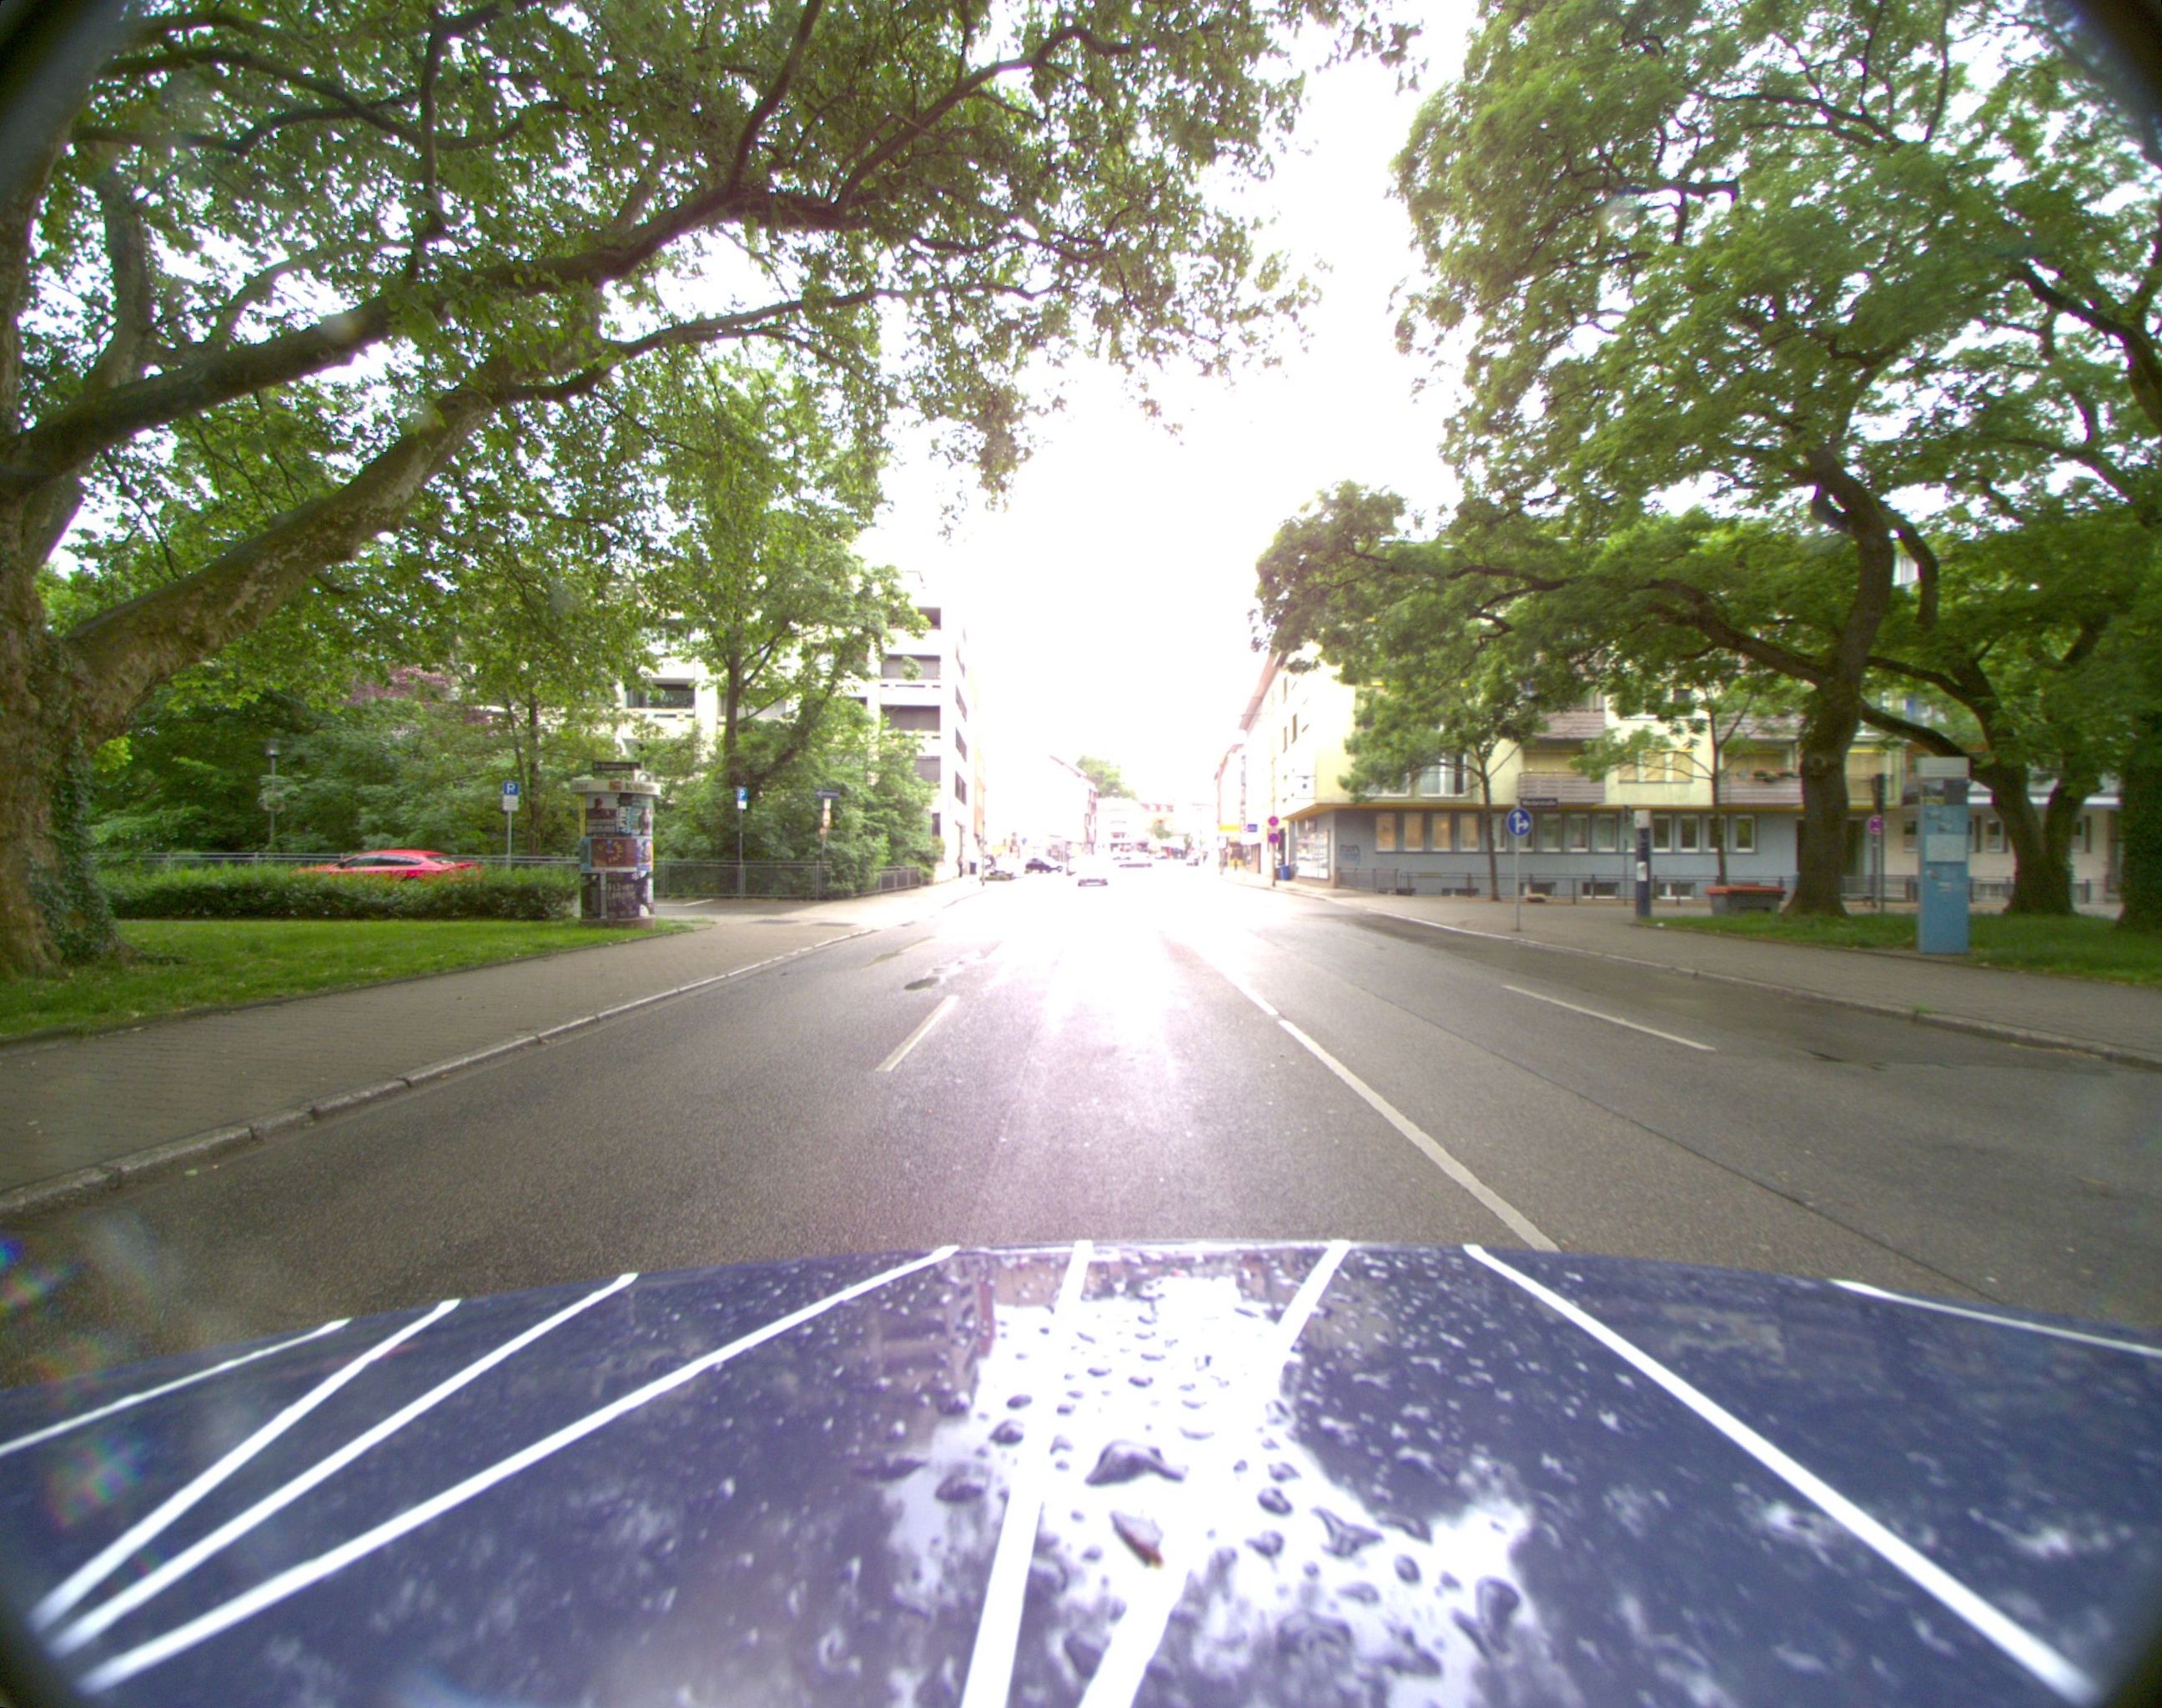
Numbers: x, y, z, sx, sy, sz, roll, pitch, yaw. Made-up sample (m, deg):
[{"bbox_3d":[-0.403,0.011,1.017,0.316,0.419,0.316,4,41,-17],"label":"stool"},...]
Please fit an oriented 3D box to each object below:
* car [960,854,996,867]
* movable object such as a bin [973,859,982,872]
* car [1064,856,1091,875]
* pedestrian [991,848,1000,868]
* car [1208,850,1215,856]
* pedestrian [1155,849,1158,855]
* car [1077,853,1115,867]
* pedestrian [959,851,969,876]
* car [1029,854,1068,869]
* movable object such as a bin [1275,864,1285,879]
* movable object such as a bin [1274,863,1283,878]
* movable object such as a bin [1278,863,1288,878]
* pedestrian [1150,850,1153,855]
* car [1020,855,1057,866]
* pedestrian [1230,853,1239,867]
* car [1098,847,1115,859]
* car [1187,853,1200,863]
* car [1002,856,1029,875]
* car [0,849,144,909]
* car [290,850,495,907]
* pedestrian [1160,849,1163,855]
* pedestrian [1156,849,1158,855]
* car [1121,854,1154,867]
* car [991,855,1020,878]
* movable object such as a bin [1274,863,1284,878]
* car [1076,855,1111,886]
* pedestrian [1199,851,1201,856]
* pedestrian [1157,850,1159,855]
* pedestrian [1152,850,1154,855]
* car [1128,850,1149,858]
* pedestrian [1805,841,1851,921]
[{"bbox_3d":[-12.707,0.811,93.820,4.157,1.576,1.801,1,0,-1],"label":"car"},{"bbox_3d":[-8.597,0.926,62.876,0.681,1.097,0.514,0,1,-1],"label":"movable object such as a bin"},{"bbox_3d":[-0.352,0.955,66.094,1.758,1.559,3.997,-2,0,-9],"label":"car"},{"bbox_3d":[-9.382,0.471,83.133,0.806,2.140,0.737,0,1,-23],"label":"pedestrian"},{"bbox_3d":[33.244,-0.312,193.486,1.591,1.518,3.491,0,0,14],"label":"car"},{"bbox_3d":[18.455,-0.481,185.598,0.379,1.283,0.401,1,1,39],"label":"pedestrian"},{"bbox_3d":[1.861,0.705,93.530,4.687,1.559,1.758,-2,0,2],"label":"car"},{"bbox_3d":[-8.036,0.652,52.266,0.599,1.650,0.691,3,0,-7],"label":"pedestrian"},{"bbox_3d":[-3.538,0.816,81.953,4.147,1.576,1.805,1,0,41],"label":"car"},{"bbox_3d":[12.757,1.106,48.635,0.529,0.890,0.435,-4,0,8],"label":"movable object such as a bin"},{"bbox_3d":[12.958,1.085,49.825,0.465,0.922,0.428,-4,0,8],"label":"movable object such as a bin"},{"bbox_3d":[12.788,1.051,48.128,0.529,0.955,0.435,-4,0,8],"label":"movable object such as a bin"},{"bbox_3d":[16.772,-0.363,180.457,0.379,1.283,0.401,0,1,39],"label":"pedestrian"},{"bbox_3d":[-5.209,0.836,93.693,4.463,1.377,1.476,0,0,1],"label":"car"},{"bbox_3d":[16.766,0.645,82.884,0.785,1.578,0.674,-2,0,21],"label":"pedestrian"},{"bbox_3d":[3.866,-0.107,116.020,2.016,1.754,4.766,1,0,8],"label":"car"},{"bbox_3d":[17.968,0.585,121.373,1.834,1.612,4.003,0,0,10],"label":"car"},{"bbox_3d":[-5.161,0.869,60.470,1.835,1.412,4.569,1,0,-1],"label":"car"},{"bbox_3d":[-29.533,0.675,21.398,3.932,1.561,1.735,1,0,-4],"label":"car"},{"bbox_3d":[-19.555,0.680,21.747,3.999,1.473,1.875,1,1,-5],"label":"car"},{"bbox_3d":[18.910,-0.439,178.715,0.379,1.283,0.401,1,1,39],"label":"pedestrian"},{"bbox_3d":[18.308,-0.452,183.178,0.379,1.283,0.401,0,1,38],"label":"pedestrian"},{"bbox_3d":[7.196,0.827,96.965,4.196,1.596,1.481,1,0,1],"label":"car"},{"bbox_3d":[-5.323,0.873,53.968,1.706,1.549,3.804,1,0,-1],"label":"car"},{"bbox_3d":[12.840,1.078,49.181,0.529,0.922,0.426,-4,0,8],"label":"movable object such as a bin"},{"bbox_3d":[0.678,0.848,41.211,1.756,1.559,4.000,-2,0,1],"label":"car"},{"bbox_3d":[27.207,-0.147,173.464,0.400,1.283,0.380,0,1,1],"label":"pedestrian"},{"bbox_3d":[17.851,-0.375,176.582,0.399,1.283,0.380,0,1,10],"label":"pedestrian"},{"bbox_3d":[17.464,-0.430,184.548,0.379,1.283,0.401,0,1,38],"label":"pedestrian"},{"bbox_3d":[12.602,-0.077,166.665,2.050,1.754,4.558,1,0,-33],"label":"car"},{"bbox_3d":[19.158,0.681,19.495,0.754,2.002,0.780,-1,1,-42],"label":"pedestrian"}]
